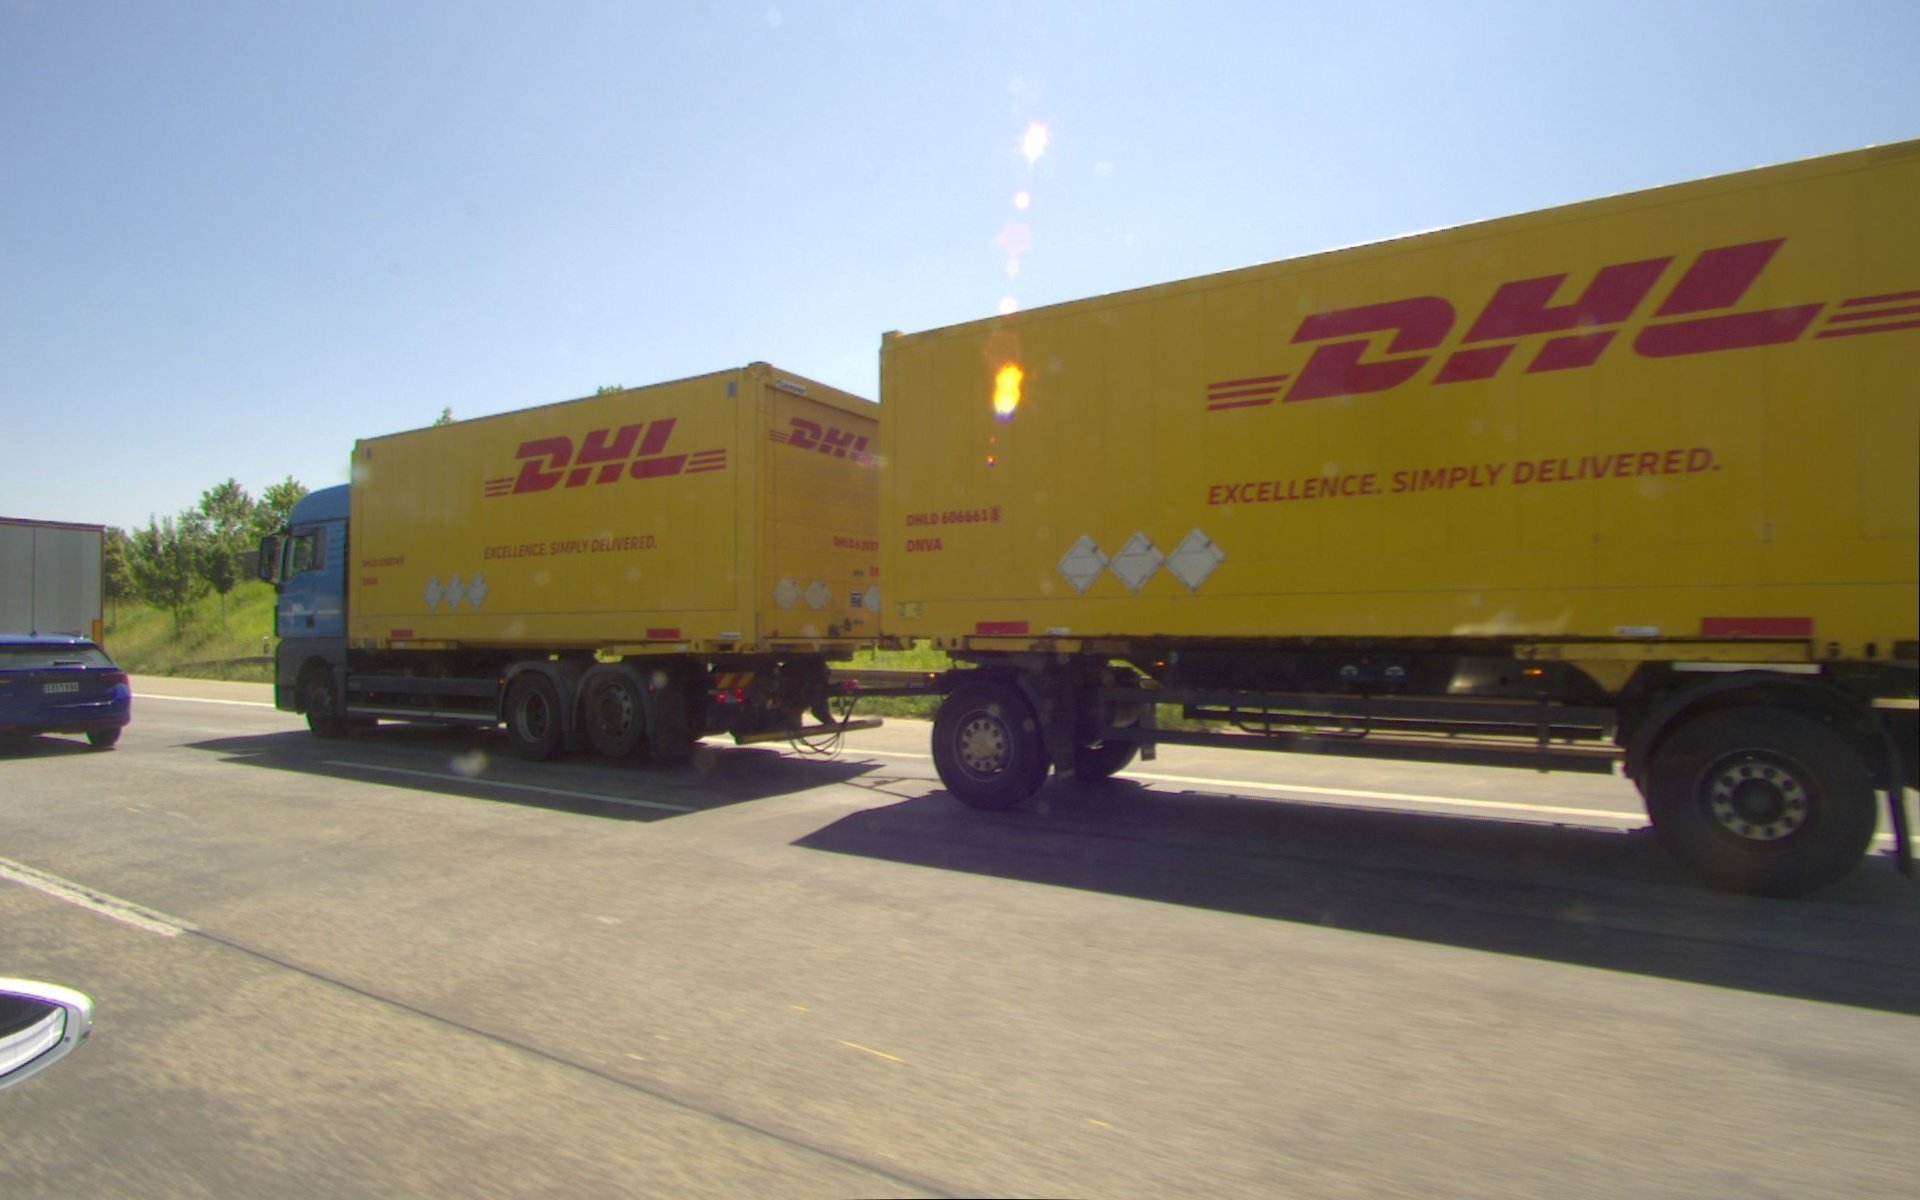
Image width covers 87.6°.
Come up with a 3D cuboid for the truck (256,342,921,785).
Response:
[{"bbox_3d":[-5.343,-0.238,13.174,9.809,4.161,2.761,-1,-2,32],"label":"truck"}]

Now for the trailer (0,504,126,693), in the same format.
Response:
[{"bbox_3d":[-26.218,0.059,25.931,13.552,4.102,2.958,-1,-1,32],"label":"trailer"}]

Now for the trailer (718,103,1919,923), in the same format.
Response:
[{"bbox_3d":[2.319,-0.354,8.332,9.242,4.170,2.761,-1,-2,32],"label":"trailer"}]

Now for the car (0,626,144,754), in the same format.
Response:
[{"bbox_3d":[-12.590,1.101,13.050,4.364,1.459,1.704,-1,-2,32],"label":"car"}]
